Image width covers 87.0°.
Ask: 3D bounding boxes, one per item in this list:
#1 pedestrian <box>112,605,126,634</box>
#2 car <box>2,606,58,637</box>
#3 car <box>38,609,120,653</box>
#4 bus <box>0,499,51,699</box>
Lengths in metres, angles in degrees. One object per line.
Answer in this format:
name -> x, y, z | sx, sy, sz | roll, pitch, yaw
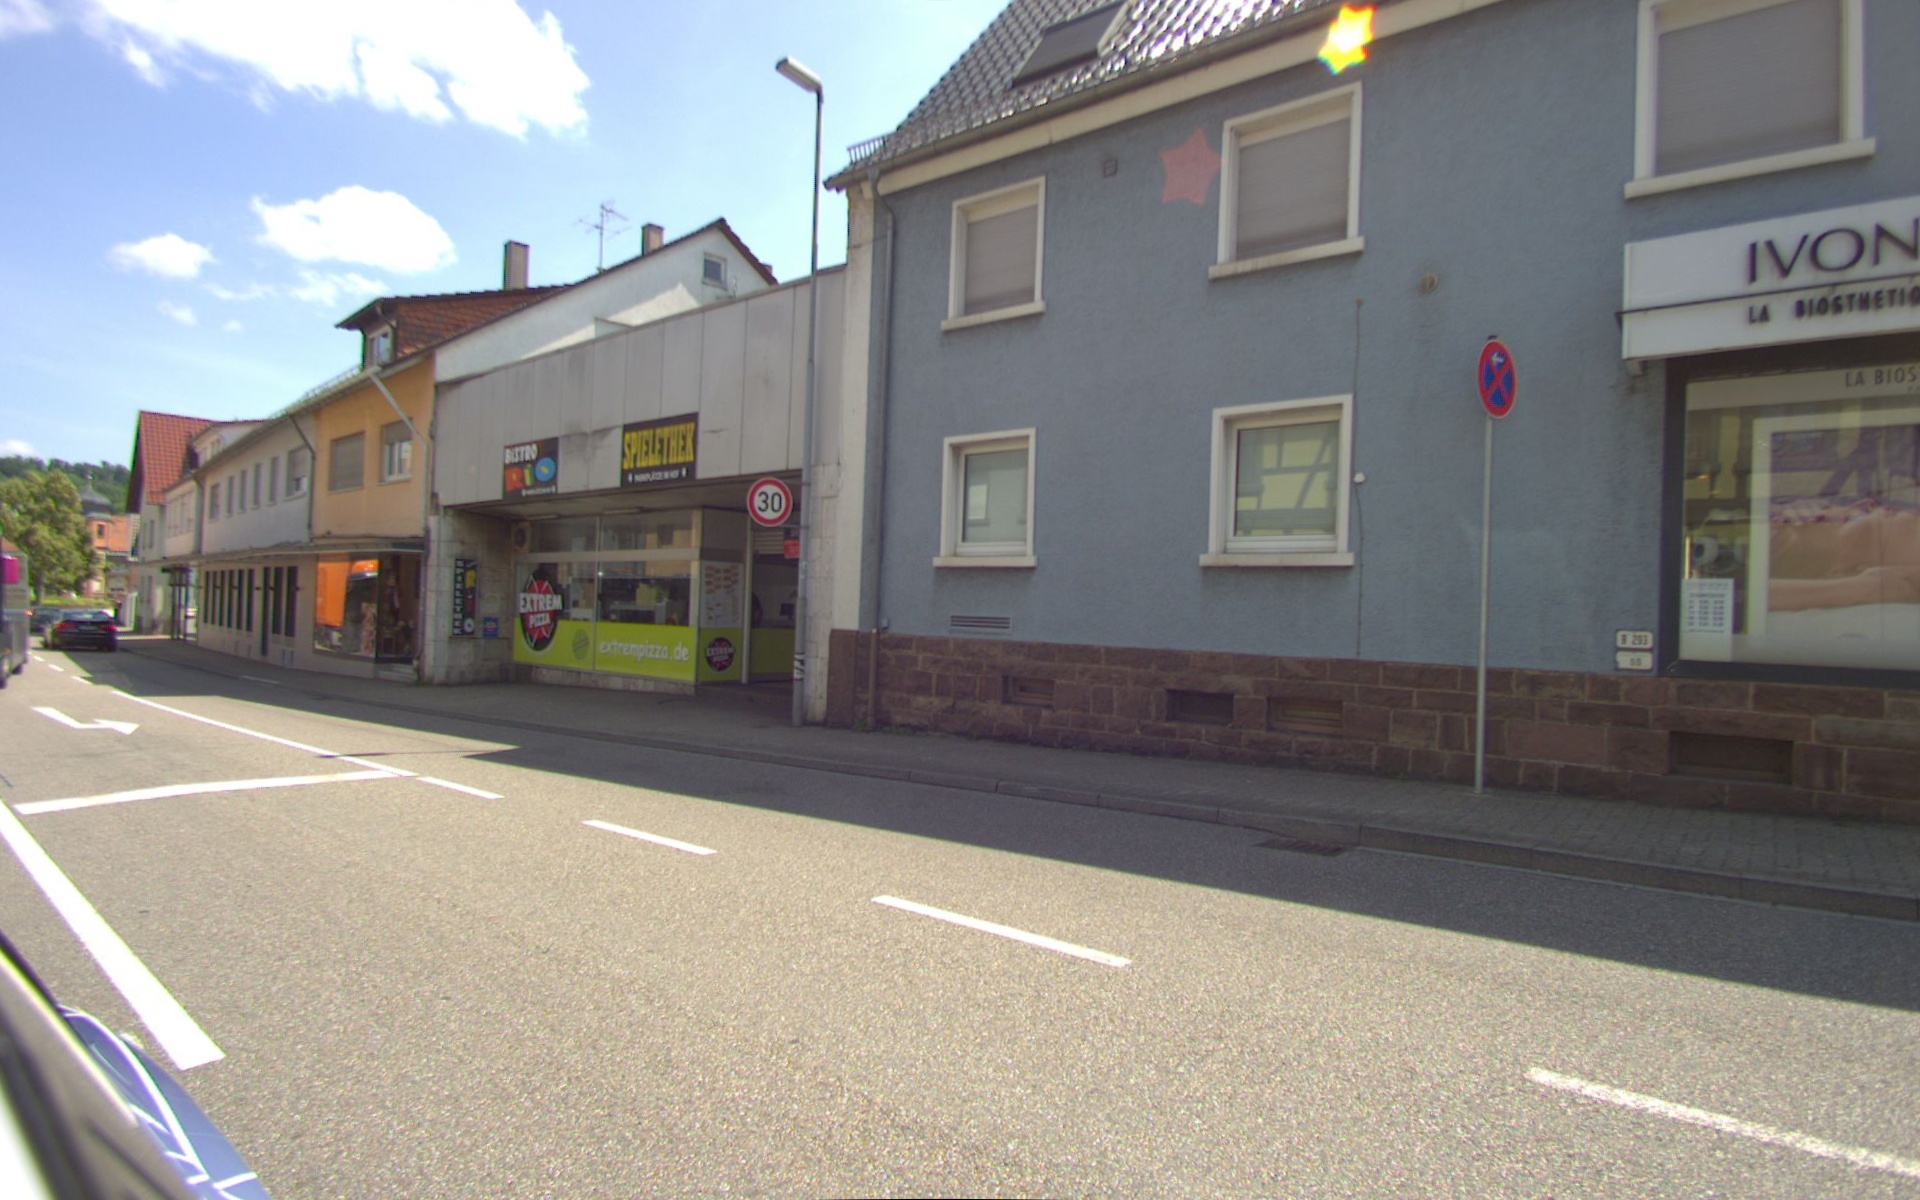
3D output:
pedestrian -> -53.790, 1.248, 64.718 | 0.475, 1.777, 0.467 | 1, -1, 22
car -> -46.356, 1.105, 50.432 | 3.820, 1.434, 1.699 | -2, -4, 43
car -> -33.397, 1.157, 38.315 | 4.798, 1.498, 1.777 | 0, -4, 43
bus -> -22.683, 0.112, 22.729 | 2.816, 3.229, 19.062 | 1, -2, -40
